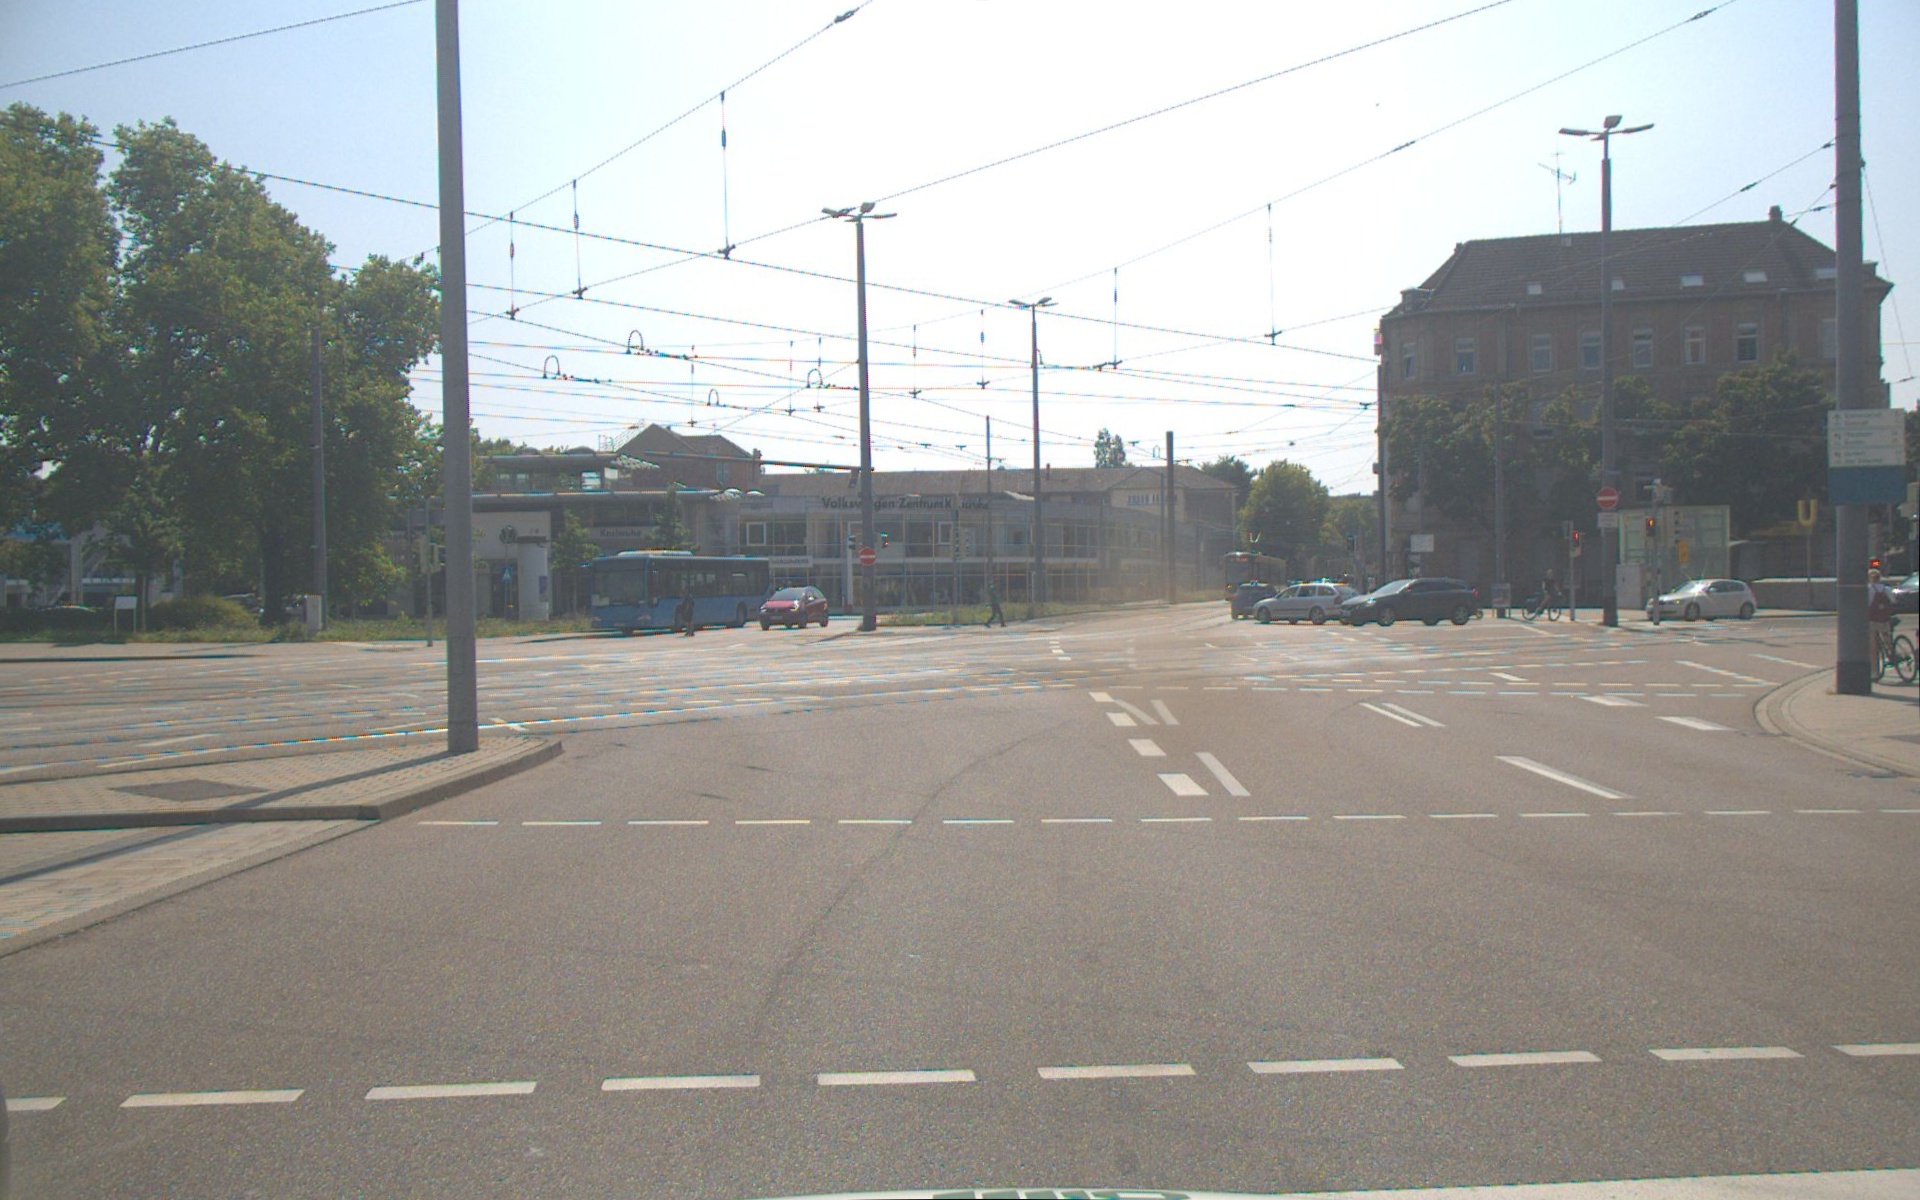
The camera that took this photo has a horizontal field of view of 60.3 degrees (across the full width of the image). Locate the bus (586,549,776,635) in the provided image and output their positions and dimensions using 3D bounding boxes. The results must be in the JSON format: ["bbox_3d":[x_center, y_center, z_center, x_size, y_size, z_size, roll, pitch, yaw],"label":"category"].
[{"bbox_3d":[-10.879,-0.341,66.429,2.508,3.136,12.031,-1,0,16],"label":"bus"}]

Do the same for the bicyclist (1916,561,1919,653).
[{"bbox_3d":[14.882,0.110,24.947,0.519,1.417,0.894,-1,0,12],"label":"bicyclist"}]

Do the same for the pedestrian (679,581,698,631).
[{"bbox_3d":[-9.315,0.209,56.761,0.544,1.713,0.452,-1,0,-19],"label":"pedestrian"}]

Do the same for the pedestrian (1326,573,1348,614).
[{"bbox_3d":[14.988,-0.251,65.727,0.686,1.631,0.572,-1,0,-8],"label":"pedestrian"}]

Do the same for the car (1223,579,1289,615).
[{"bbox_3d":[12.276,-0.140,68.531,1.560,1.418,3.995,-1,0,28],"label":"car"}]

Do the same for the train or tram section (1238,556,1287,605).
[{"bbox_3d":[23.539,-1.492,128.257,2.534,3.578,9.664,-1,0,17],"label":"train or tram section"}]

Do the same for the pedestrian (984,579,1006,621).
[{"bbox_3d":[1.257,-0.004,59.589,0.666,1.468,0.364,-1,0,-18],"label":"pedestrian"}]

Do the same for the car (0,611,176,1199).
[{"bbox_3d":[-2.490,0.730,1.338,1.728,1.412,3.783,1,0,3],"label":"car"}]

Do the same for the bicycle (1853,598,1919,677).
[{"bbox_3d":[13.413,0.522,23.808,0.525,1.073,1.655,-1,0,12],"label":"bicycle"}]

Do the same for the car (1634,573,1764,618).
[{"bbox_3d":[25.499,-0.165,57.052,4.132,1.440,1.763,-1,0,-23],"label":"car"}]

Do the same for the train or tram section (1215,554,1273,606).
[{"bbox_3d":[20.414,-1.417,118.410,2.534,3.578,10.904,-1,0,18],"label":"train or tram section"}]

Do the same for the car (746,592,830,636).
[{"bbox_3d":[-6.530,0.527,63.217,1.713,1.579,4.002,-1,0,17],"label":"car"}]

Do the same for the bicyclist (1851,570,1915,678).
[{"bbox_3d":[13.440,0.337,24.092,0.614,1.544,0.712,-1,0,12],"label":"bicyclist"}]

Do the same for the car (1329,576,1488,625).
[{"bbox_3d":[14.133,-0.008,52.097,4.684,1.440,1.765,-1,0,-20],"label":"car"}]

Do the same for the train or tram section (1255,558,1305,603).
[{"bbox_3d":[26.986,-1.593,139.063,2.534,3.578,12.979,-1,0,18],"label":"train or tram section"}]

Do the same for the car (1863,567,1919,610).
[{"bbox_3d":[36.448,-0.456,62.139,4.545,1.531,1.987,-1,0,-21],"label":"car"}]

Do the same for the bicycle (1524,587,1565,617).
[{"bbox_3d":[21.398,0.063,60.541,0.462,1.073,1.643,-1,0,-20],"label":"bicycle"}]

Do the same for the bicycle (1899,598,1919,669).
[{"bbox_3d":[14.963,0.519,25.312,0.525,1.073,1.655,-1,0,12],"label":"bicycle"}]

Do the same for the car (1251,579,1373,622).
[{"bbox_3d":[12.615,0.018,59.470,1.759,1.440,4.130,-1,1,-39],"label":"car"}]

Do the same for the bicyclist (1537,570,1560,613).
[{"bbox_3d":[21.471,-0.302,60.367,0.603,1.555,0.517,-1,0,-25],"label":"bicyclist"}]
